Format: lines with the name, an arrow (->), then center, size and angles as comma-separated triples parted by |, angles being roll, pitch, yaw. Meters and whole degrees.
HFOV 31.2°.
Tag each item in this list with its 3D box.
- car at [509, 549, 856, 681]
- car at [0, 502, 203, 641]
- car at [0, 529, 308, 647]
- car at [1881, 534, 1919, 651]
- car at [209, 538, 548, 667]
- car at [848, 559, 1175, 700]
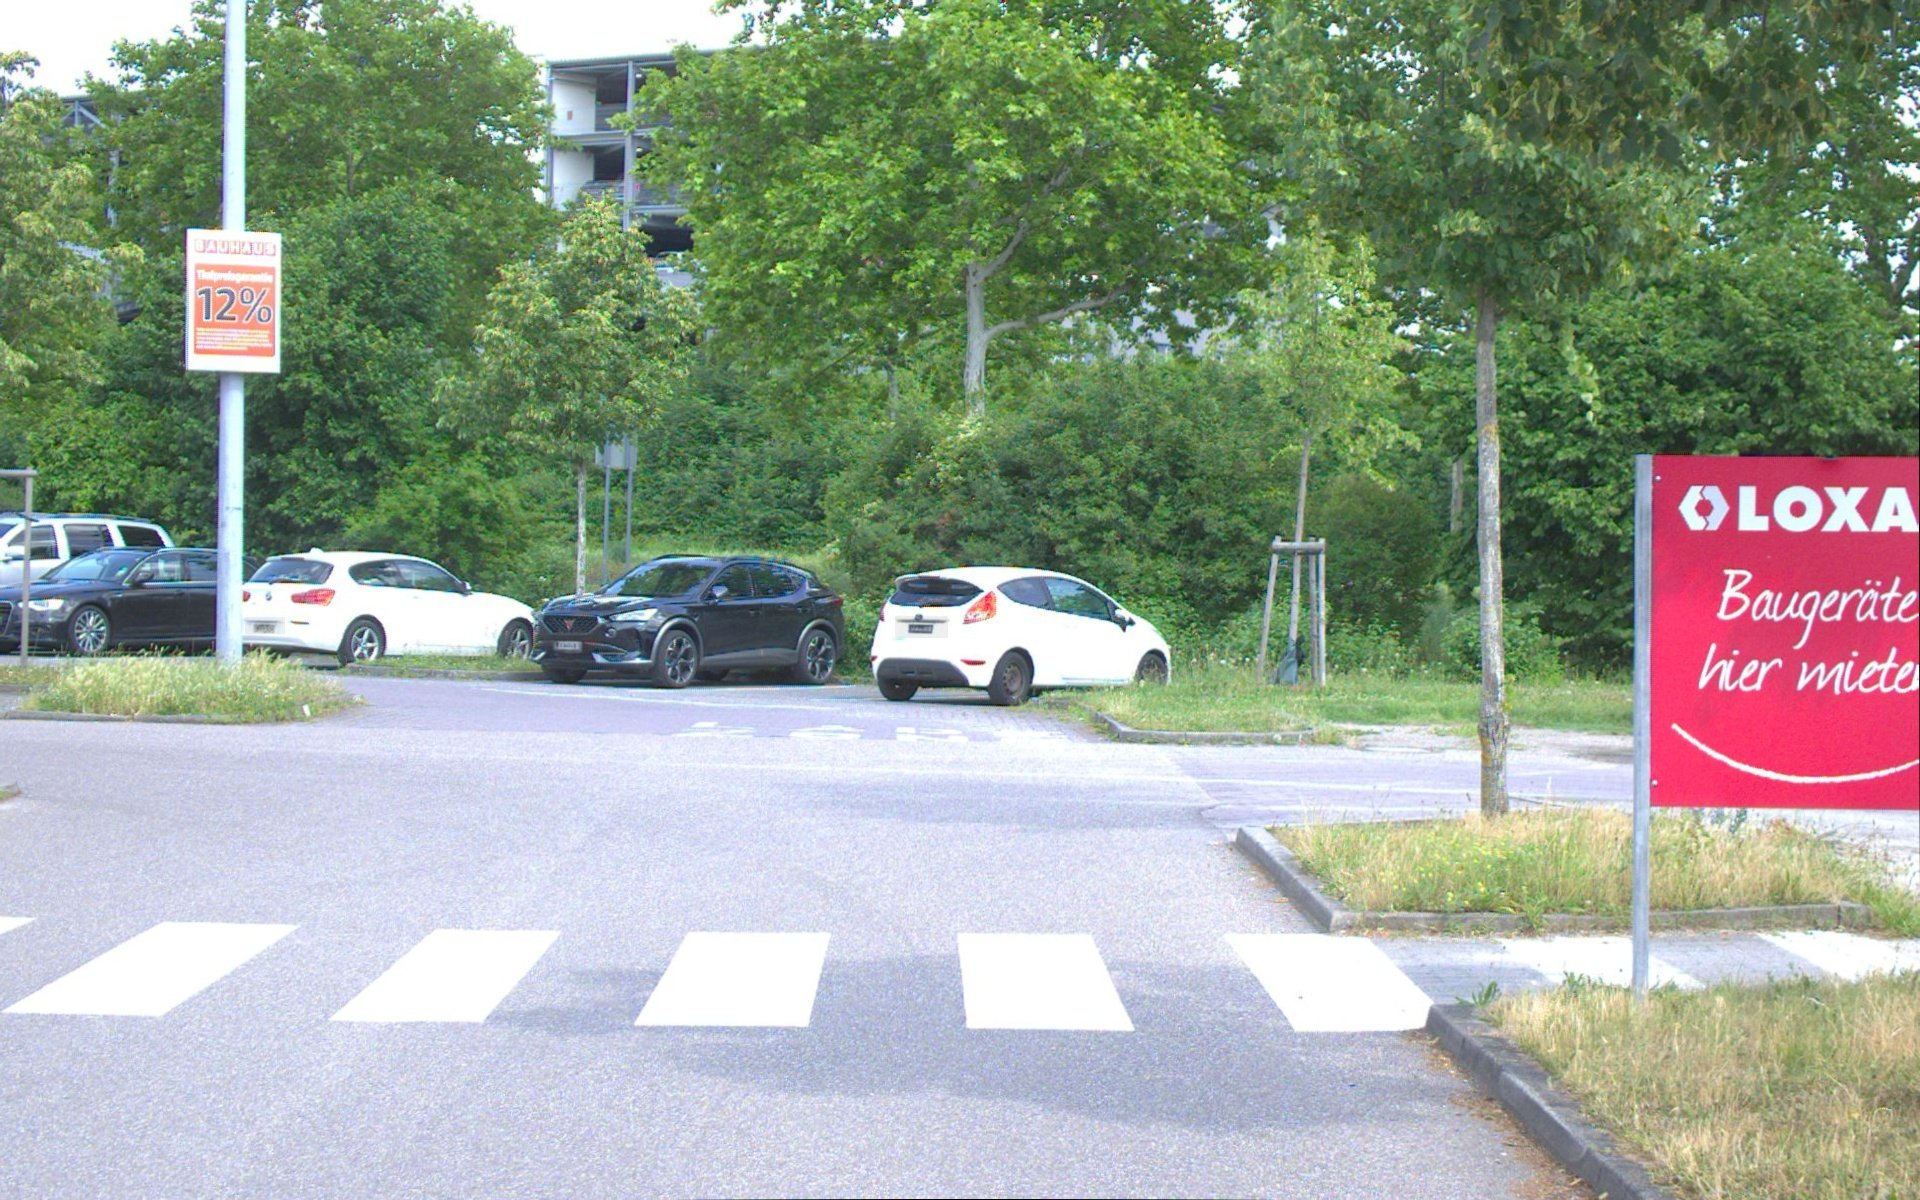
car -> -3.159, 0.158, 39.964 | 1.731, 1.405, 4.234 | 2, 1, 34
car -> -12.908, -0.409, 46.803 | 1.988, 1.836, 5.138 | 2, 1, 33
car -> -10.985, -0.169, 45.350 | 1.837, 1.446, 4.715 | 2, 1, 35
car -> 15.816, -0.065, 50.480 | 3.994, 1.709, 1.996 | 2, 1, 32
car -> -7.124, 0.026, 42.465 | 1.688, 1.504, 4.073 | 1, 1, 37
car -> 0.600, 0.300, 37.072 | 1.668, 1.407, 3.549 | 2, 1, 39
